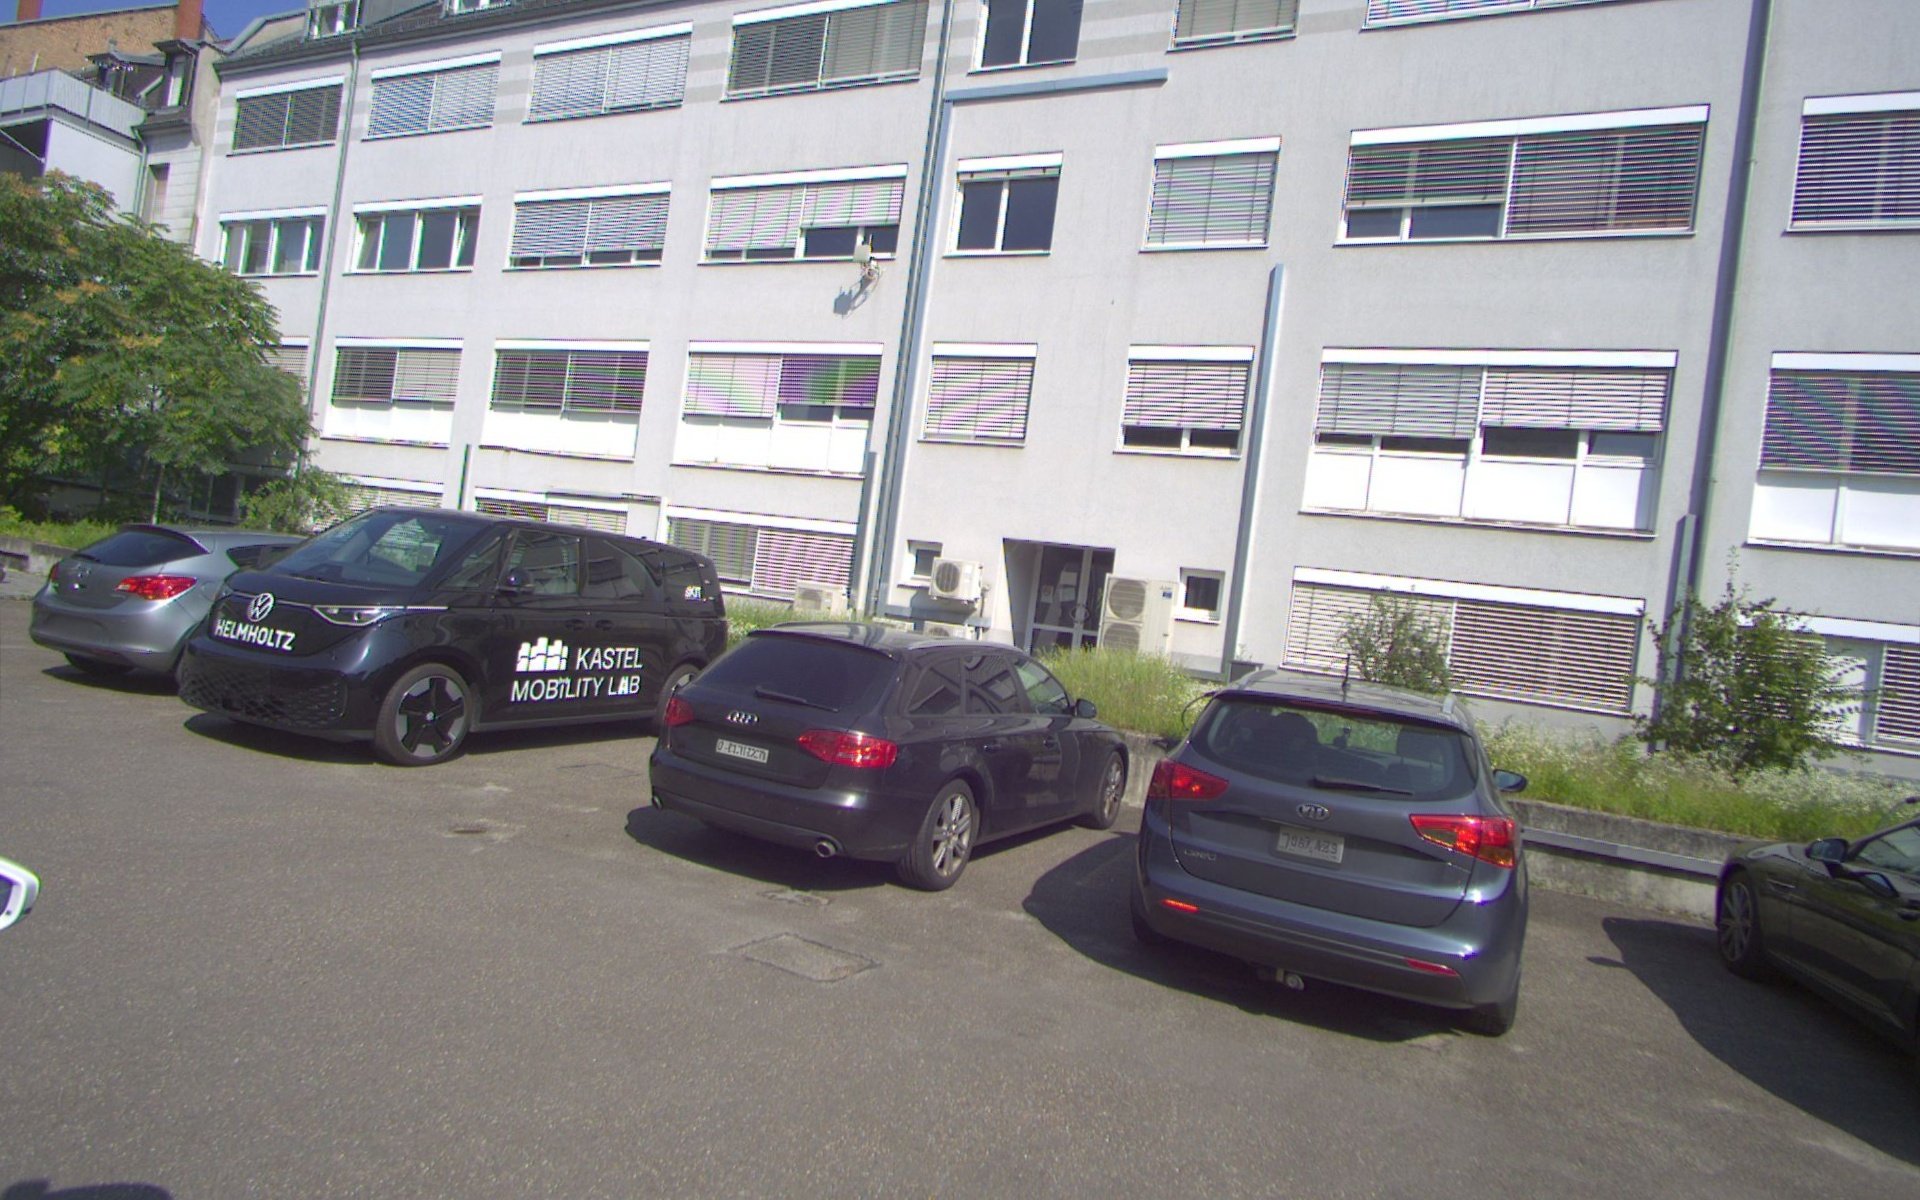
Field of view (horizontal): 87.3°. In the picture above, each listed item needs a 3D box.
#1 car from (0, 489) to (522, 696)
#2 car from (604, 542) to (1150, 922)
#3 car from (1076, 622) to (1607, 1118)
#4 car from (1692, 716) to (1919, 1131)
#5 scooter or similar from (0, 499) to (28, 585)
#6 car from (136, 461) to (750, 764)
[{"bbox_3d":[-6.569,0.043,9.915,1.742,1.500,3.946,6,-1,21],"label":"car"},{"bbox_3d":[-0.197,0.801,7.078,1.740,1.711,4.128,7,-2,28],"label":"car"},{"bbox_3d":[2.255,1.166,5.823,1.846,1.607,3.874,7,-2,25],"label":"car"},{"bbox_3d":[5.132,1.516,4.537,1.862,1.607,3.814,7,-2,21],"label":"car"},{"bbox_3d":[-15.195,-0.959,15.409,1.324,1.276,0.379,7,1,-2],"label":"scooter or similar"},{"bbox_3d":[-3.962,0.187,8.749,1.848,1.815,4.516,6,-1,21],"label":"car"}]
